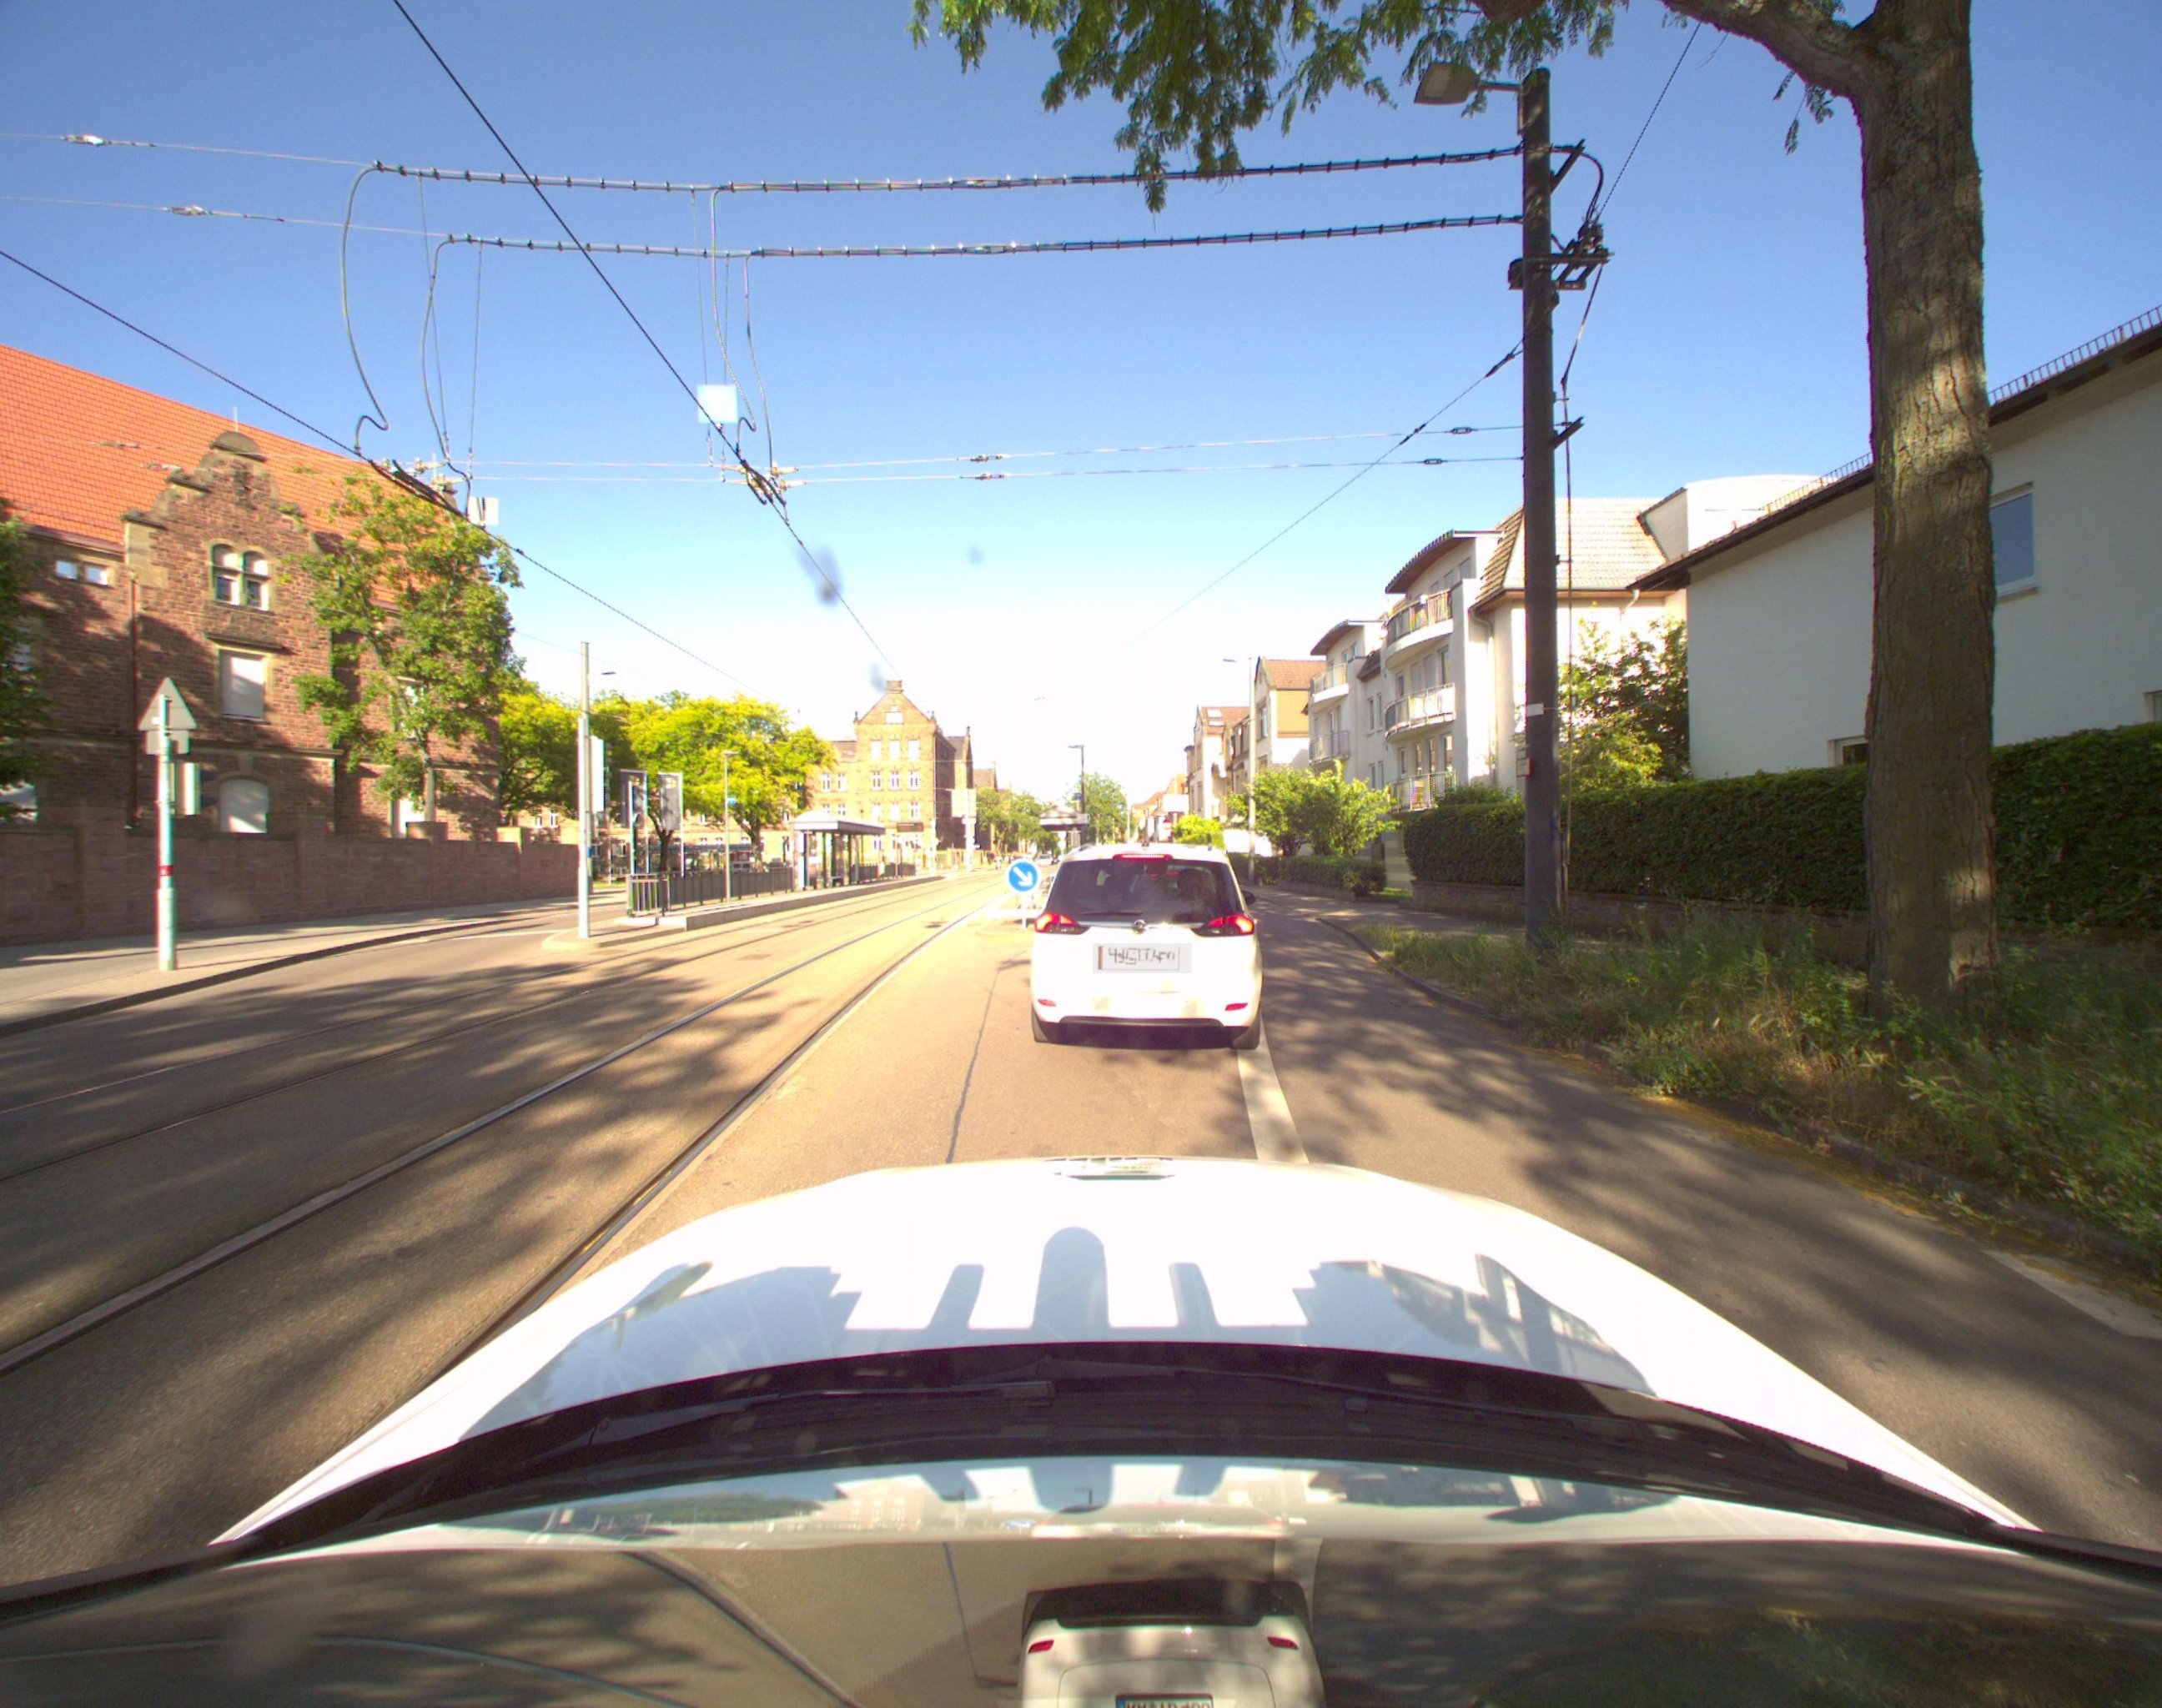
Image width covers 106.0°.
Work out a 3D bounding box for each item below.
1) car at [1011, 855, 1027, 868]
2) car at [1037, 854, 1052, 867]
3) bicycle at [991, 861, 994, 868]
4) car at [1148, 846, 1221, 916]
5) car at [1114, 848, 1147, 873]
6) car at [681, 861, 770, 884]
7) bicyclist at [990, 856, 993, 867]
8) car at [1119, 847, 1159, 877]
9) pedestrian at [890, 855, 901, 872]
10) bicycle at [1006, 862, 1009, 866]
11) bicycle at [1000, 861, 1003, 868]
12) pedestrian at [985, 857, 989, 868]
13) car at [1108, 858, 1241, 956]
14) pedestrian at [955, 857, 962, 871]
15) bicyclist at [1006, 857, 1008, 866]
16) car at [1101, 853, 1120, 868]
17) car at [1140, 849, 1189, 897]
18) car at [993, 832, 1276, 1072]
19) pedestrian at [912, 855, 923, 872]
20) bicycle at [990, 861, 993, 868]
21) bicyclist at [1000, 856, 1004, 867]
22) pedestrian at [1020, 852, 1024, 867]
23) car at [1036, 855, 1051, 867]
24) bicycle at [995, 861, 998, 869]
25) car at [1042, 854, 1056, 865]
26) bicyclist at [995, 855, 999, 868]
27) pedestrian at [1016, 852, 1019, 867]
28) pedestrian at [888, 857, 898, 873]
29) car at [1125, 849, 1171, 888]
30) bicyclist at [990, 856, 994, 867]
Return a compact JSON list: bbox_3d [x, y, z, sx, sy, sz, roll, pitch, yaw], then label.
[{"bbox_3d":[-8.190,0.923,107.488,1.989,1.629,3.996,-1,0,-3],"label":"car"},{"bbox_3d":[-4.813,0.891,107.629,1.989,1.629,3.996,-1,0,-3],"label":"car"},{"bbox_3d":[-12.419,1.509,113.807,0.343,0.950,0.996,0,-1,-1],"label":"bicycle"},{"bbox_3d":[2.575,0.639,20.902,1.630,1.601,3.859,-1,0,4],"label":"car"},{"bbox_3d":[3.104,0.385,51.851,1.986,1.503,4.002,-1,0,2],"label":"car"},{"bbox_3d":[-32.958,1.698,75.708,6.926,1.921,2.992,-1,0,0],"label":"car"},{"bbox_3d":[-12.682,1.058,115.610,0.443,1.553,0.495,-1,0,-2],"label":"bicyclist"},{"bbox_3d":[3.129,0.415,44.383,1.986,1.503,4.002,-1,0,2],"label":"car"},{"bbox_3d":[-18.596,0.941,81.487,0.839,1.691,1.029,0,-1,1],"label":"pedestrian"},{"bbox_3d":[-11.411,1.559,125.888,0.343,0.725,0.996,0,-1,-1],"label":"bicycle"},{"bbox_3d":[-10.659,1.462,109.616,0.343,0.950,0.996,0,-1,-1],"label":"bicycle"},{"bbox_3d":[-15.224,1.343,131.887,0.733,1.714,0.753,0,-1,-4],"label":"pedestrian"},{"bbox_3d":[1.534,0.792,14.073,1.944,1.397,4.005,-1,0,4],"label":"car"},{"bbox_3d":[-14.958,1.217,99.213,0.732,1.714,0.707,0,-1,1],"label":"pedestrian"},{"bbox_3d":[-11.431,1.131,125.891,0.358,1.303,0.397,-1,0,-2],"label":"bicyclist"},{"bbox_3d":[3.477,0.753,96.290,1.988,1.629,3.998,-1,0,-1],"label":"car"},{"bbox_3d":[2.946,0.636,29.327,1.630,1.601,3.859,-1,0,4],"label":"car"},{"bbox_3d":[0.646,0.686,7.711,1.982,1.644,4.003,0,0,8],"label":"car"},{"bbox_3d":[-16.478,0.922,82.018,0.892,1.684,1.029,0,-1,1],"label":"pedestrian"},{"bbox_3d":[-12.676,1.525,115.644,0.343,0.950,0.996,0,-1,-1],"label":"bicycle"},{"bbox_3d":[-10.660,0.996,109.611,0.443,1.553,0.495,-1,0,-2],"label":"bicyclist"},{"bbox_3d":[-8.151,0.771,112.657,0.443,2.013,0.495,-1,0,-2],"label":"pedestrian"},{"bbox_3d":[-5.294,0.952,114.752,1.989,1.629,3.996,-1,0,-3],"label":"car"},{"bbox_3d":[-10.713,1.414,103.531,0.343,0.950,1.160,0,-1,-1],"label":"bicycle"},{"bbox_3d":[-5.129,0.907,130.999,1.987,1.629,4.000,-1,0,0],"label":"car"},{"bbox_3d":[-10.705,0.947,103.741,0.443,1.553,0.742,-1,0,-2],"label":"bicyclist"},{"bbox_3d":[-8.767,0.774,112.372,0.443,2.013,0.495,-1,0,-2],"label":"pedestrian"},{"bbox_3d":[-19.160,1.133,83.160,0.799,1.588,0.934,0,-1,-1],"label":"pedestrian"},{"bbox_3d":[2.932,0.612,36.258,1.824,1.579,4.012,-1,0,2],"label":"car"},{"bbox_3d":[-12.447,1.041,113.768,0.443,1.553,0.495,-1,0,-2],"label":"bicyclist"}]
